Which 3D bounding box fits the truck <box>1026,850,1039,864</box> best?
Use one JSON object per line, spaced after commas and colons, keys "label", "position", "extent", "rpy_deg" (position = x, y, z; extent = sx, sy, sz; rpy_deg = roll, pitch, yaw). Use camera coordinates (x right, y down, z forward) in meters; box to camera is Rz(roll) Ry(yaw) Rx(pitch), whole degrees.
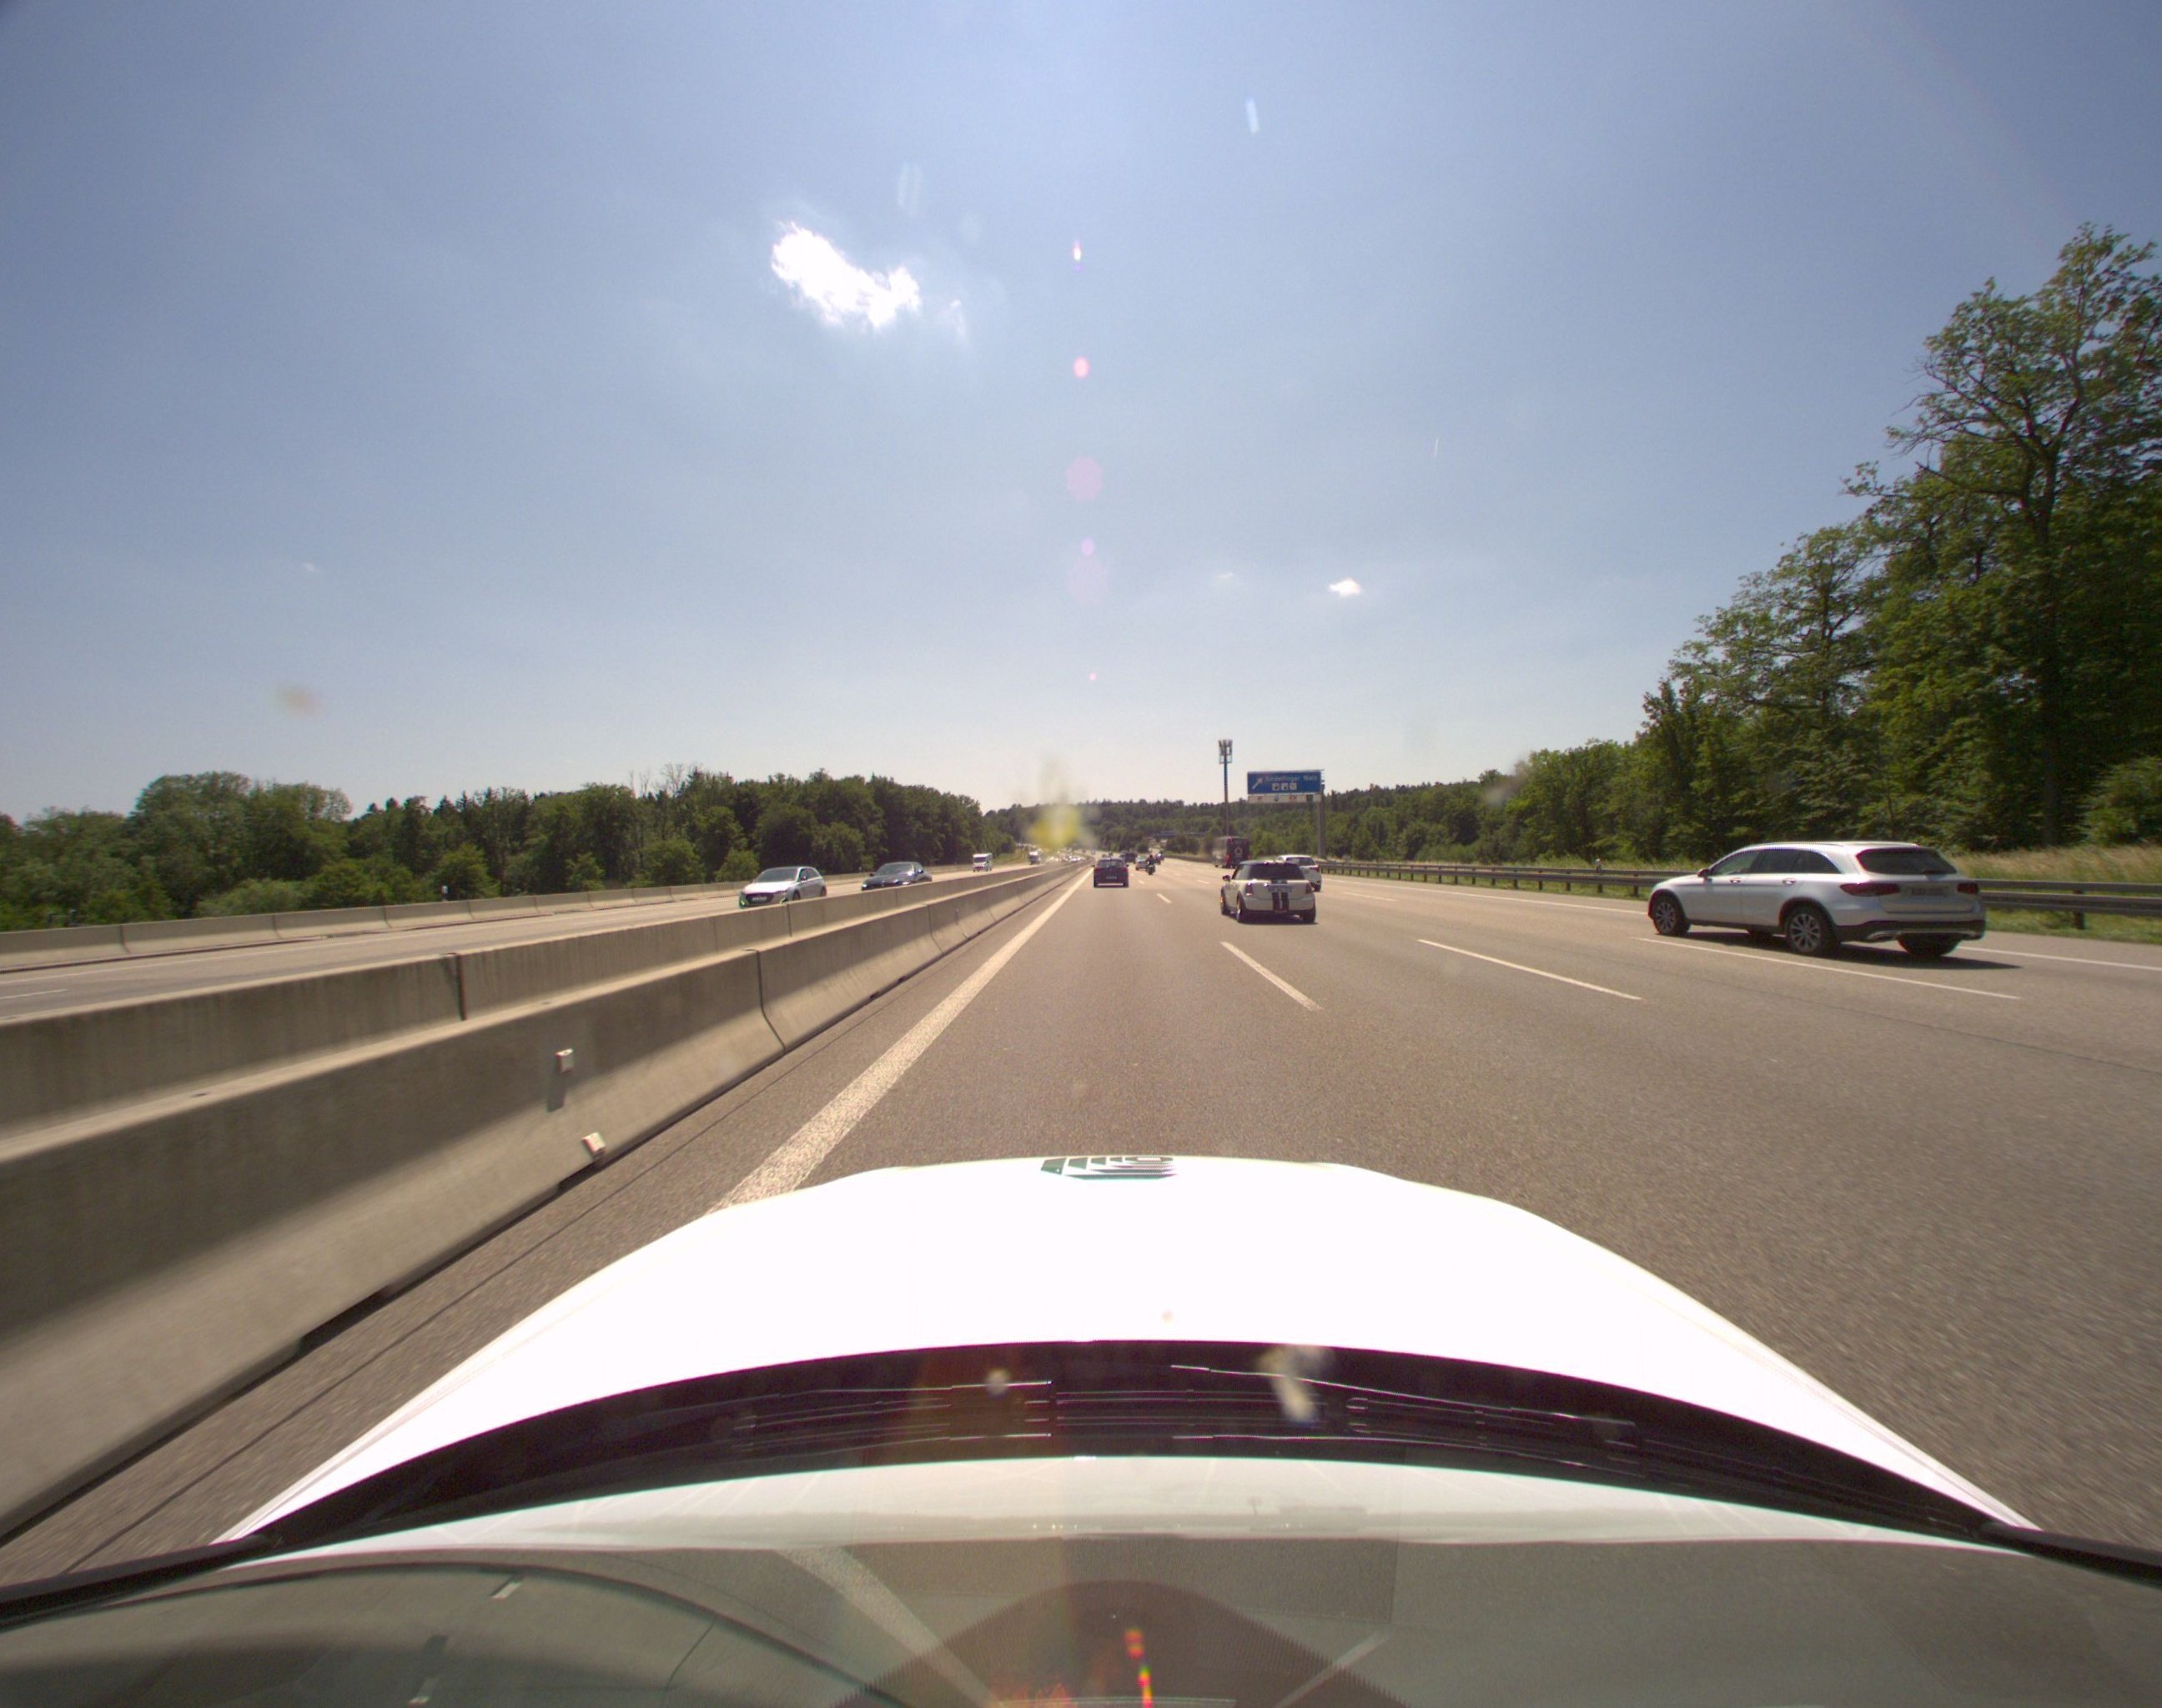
{"label": "truck", "position": [-12.681, 0.751, 214.348], "extent": [2.530, 3.571, 8.578], "rpy_deg": [-1, 0, 1]}

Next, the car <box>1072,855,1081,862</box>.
{"label": "car", "position": [-1.111, 1.105, 186.619], "extent": [1.842, 1.523, 5.320], "rpy_deg": [-3, 0, 1]}

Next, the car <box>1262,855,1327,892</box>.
{"label": "car", "position": [8.952, 0.768, 34.466], "extent": [1.660, 1.433, 4.376], "rpy_deg": [-1, 0, 1]}

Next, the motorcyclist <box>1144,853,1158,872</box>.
{"label": "motorcyclist", "position": [5.549, 0.650, 64.234], "extent": [0.959, 1.437, 1.235], "rpy_deg": [-3, 0, 1]}

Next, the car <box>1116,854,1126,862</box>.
{"label": "car", "position": [8.846, 0.864, 180.952], "extent": [1.989, 1.684, 4.420], "rpy_deg": [0, 1, -3]}

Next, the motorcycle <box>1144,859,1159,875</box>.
{"label": "motorcycle", "position": [5.568, 1.039, 64.325], "extent": [0.974, 1.129, 2.271], "rpy_deg": [2, -2, 1]}

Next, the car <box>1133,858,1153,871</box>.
{"label": "car", "position": [6.312, 1.032, 83.200], "extent": [1.776, 1.265, 3.461], "rpy_deg": [-2, 0, 2]}

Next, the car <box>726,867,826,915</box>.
{"label": "car", "position": [-10.369, 1.209, 28.006], "extent": [1.832, 1.441, 4.000], "rpy_deg": [-1, 0, 1]}

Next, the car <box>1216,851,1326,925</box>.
{"label": "car", "position": [4.405, 0.731, 19.467], "extent": [1.834, 1.552, 4.003], "rpy_deg": [1, 0, 2]}

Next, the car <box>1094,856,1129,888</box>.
{"label": "car", "position": [1.512, 0.844, 40.215], "extent": [1.618, 1.487, 3.687], "rpy_deg": [-1, 0, 2]}

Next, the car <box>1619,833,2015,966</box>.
{"label": "car", "position": [11.269, 0.555, 13.171], "extent": [1.794, 1.731, 5.241], "rpy_deg": [0, 1, 2]}

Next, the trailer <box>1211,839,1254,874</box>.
{"label": "trailer", "position": [17.544, 0.307, 95.363], "extent": [2.847, 3.688, 13.547], "rpy_deg": [-2, -1, 2]}

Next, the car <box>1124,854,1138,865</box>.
{"label": "car", "position": [8.391, 0.896, 137.515], "extent": [2.090, 1.851, 4.081], "rpy_deg": [-1, 0, 1]}

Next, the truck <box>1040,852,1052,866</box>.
{"label": "truck", "position": [-10.890, 1.426, 254.047], "extent": [2.705, 4.099, 7.879], "rpy_deg": [-3, 0, 1]}

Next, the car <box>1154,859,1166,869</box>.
{"label": "car", "position": [12.587, 1.597, 130.416], "extent": [1.669, 1.431, 3.686], "rpy_deg": [-1, 0, 1]}

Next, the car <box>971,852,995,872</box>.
{"label": "car", "position": [-14.451, 1.125, 120.263], "extent": [2.213, 2.659, 8.178], "rpy_deg": [-3, 0, 2]}

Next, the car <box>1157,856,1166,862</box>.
{"label": "car", "position": [17.714, 1.154, 179.797], "extent": [1.603, 1.212, 3.459], "rpy_deg": [-2, 0, 0]}

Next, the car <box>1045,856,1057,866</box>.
{"label": "car", "position": [-5.941, 1.410, 160.188], "extent": [1.986, 1.787, 5.320], "rpy_deg": [-3, 0, 1]}

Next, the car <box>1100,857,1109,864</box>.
{"label": "car", "position": [4.180, 1.203, 145.798], "extent": [1.531, 1.212, 3.458], "rpy_deg": [-2, 0, -1]}

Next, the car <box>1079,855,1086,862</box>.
{"label": "car", "position": [0.400, 1.348, 246.068], "extent": [1.766, 1.879, 5.215], "rpy_deg": [0, 1, 3]}

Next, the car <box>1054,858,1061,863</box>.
{"label": "car", "position": [-7.420, 1.990, 253.154], "extent": [1.791, 1.376, 4.533], "rpy_deg": [-4, -1, 1]}

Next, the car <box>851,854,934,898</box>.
{"label": "car", "position": [-6.848, 0.762, 30.078], "extent": [1.832, 1.441, 4.845], "rpy_deg": [-1, 0, 1]}
